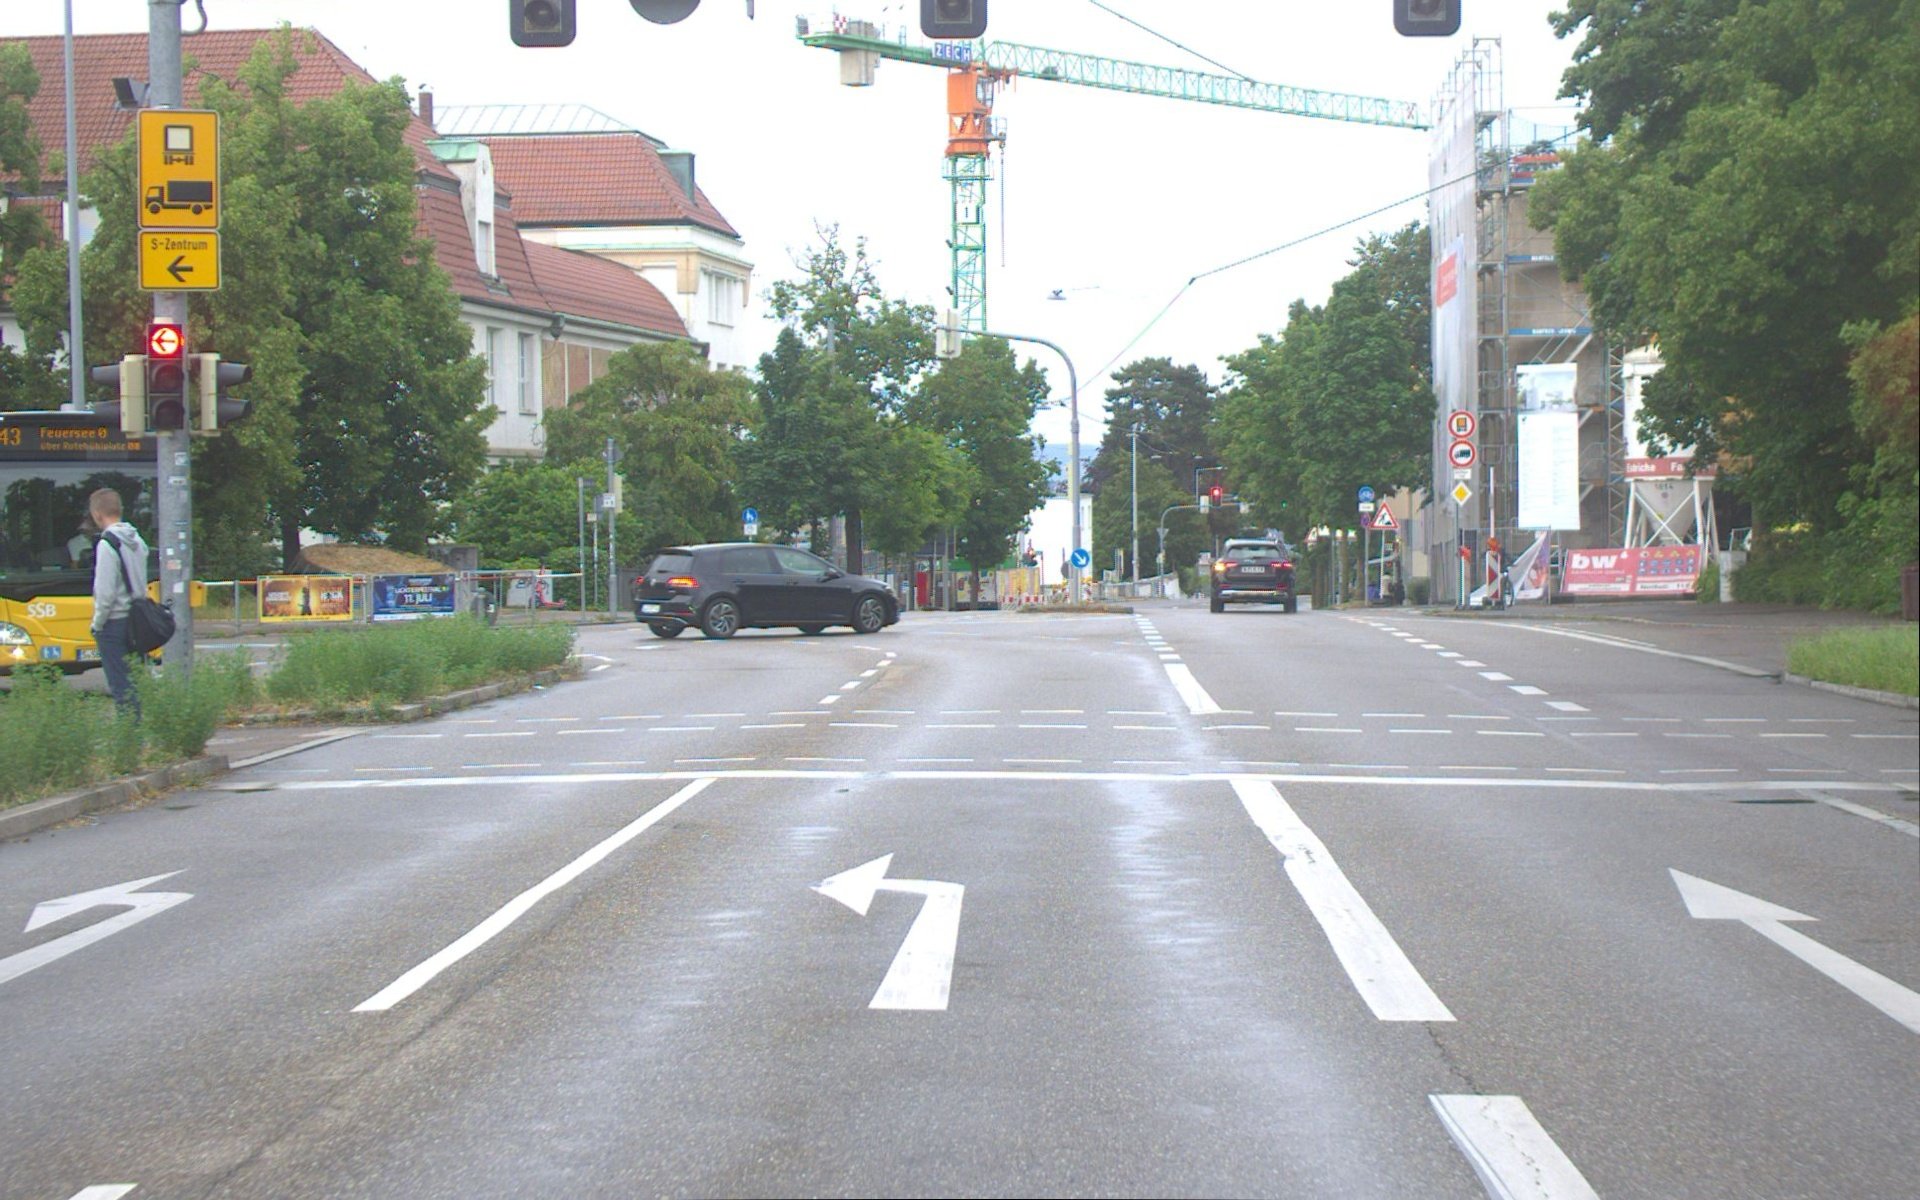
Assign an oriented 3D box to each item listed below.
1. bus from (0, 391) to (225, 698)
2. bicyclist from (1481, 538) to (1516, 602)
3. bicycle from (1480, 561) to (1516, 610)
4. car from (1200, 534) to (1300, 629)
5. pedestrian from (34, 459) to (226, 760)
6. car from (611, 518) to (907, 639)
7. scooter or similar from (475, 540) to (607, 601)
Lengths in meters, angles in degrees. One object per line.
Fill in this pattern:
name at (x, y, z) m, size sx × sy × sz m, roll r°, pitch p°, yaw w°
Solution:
bus at (-12.403, -0.600, 38.871) m, size 9.749 × 3.092 × 2.890 m, roll 0°, pitch 1°, yaw 43°
bicyclist at (13.333, -0.736, 85.123) m, size 0.720 × 1.558 × 1.142 m, roll 1°, pitch -1°, yaw 4°
bicycle at (13.314, -0.351, 85.115) m, size 0.720 × 1.189 × 1.755 m, roll 1°, pitch -1°, yaw 4°
car at (6.418, -0.381, 76.544) m, size 1.944 × 2.014 × 4.550 m, roll 1°, pitch -1°, yaw 2°
pedestrian at (-5.769, 0.059, 23.935) m, size 0.940 × 2.007 × 0.847 m, roll -3°, pitch 1°, yaw 8°
car at (-3.048, -0.305, 52.073) m, size 3.986 × 1.700 × 2.000 m, roll 2°, pitch -1°, yaw -26°
scooter or similar at (-10.267, -0.737, 84.324) m, size 3.087 × 1.435 × 0.949 m, roll -1°, pitch 1°, yaw 1°
